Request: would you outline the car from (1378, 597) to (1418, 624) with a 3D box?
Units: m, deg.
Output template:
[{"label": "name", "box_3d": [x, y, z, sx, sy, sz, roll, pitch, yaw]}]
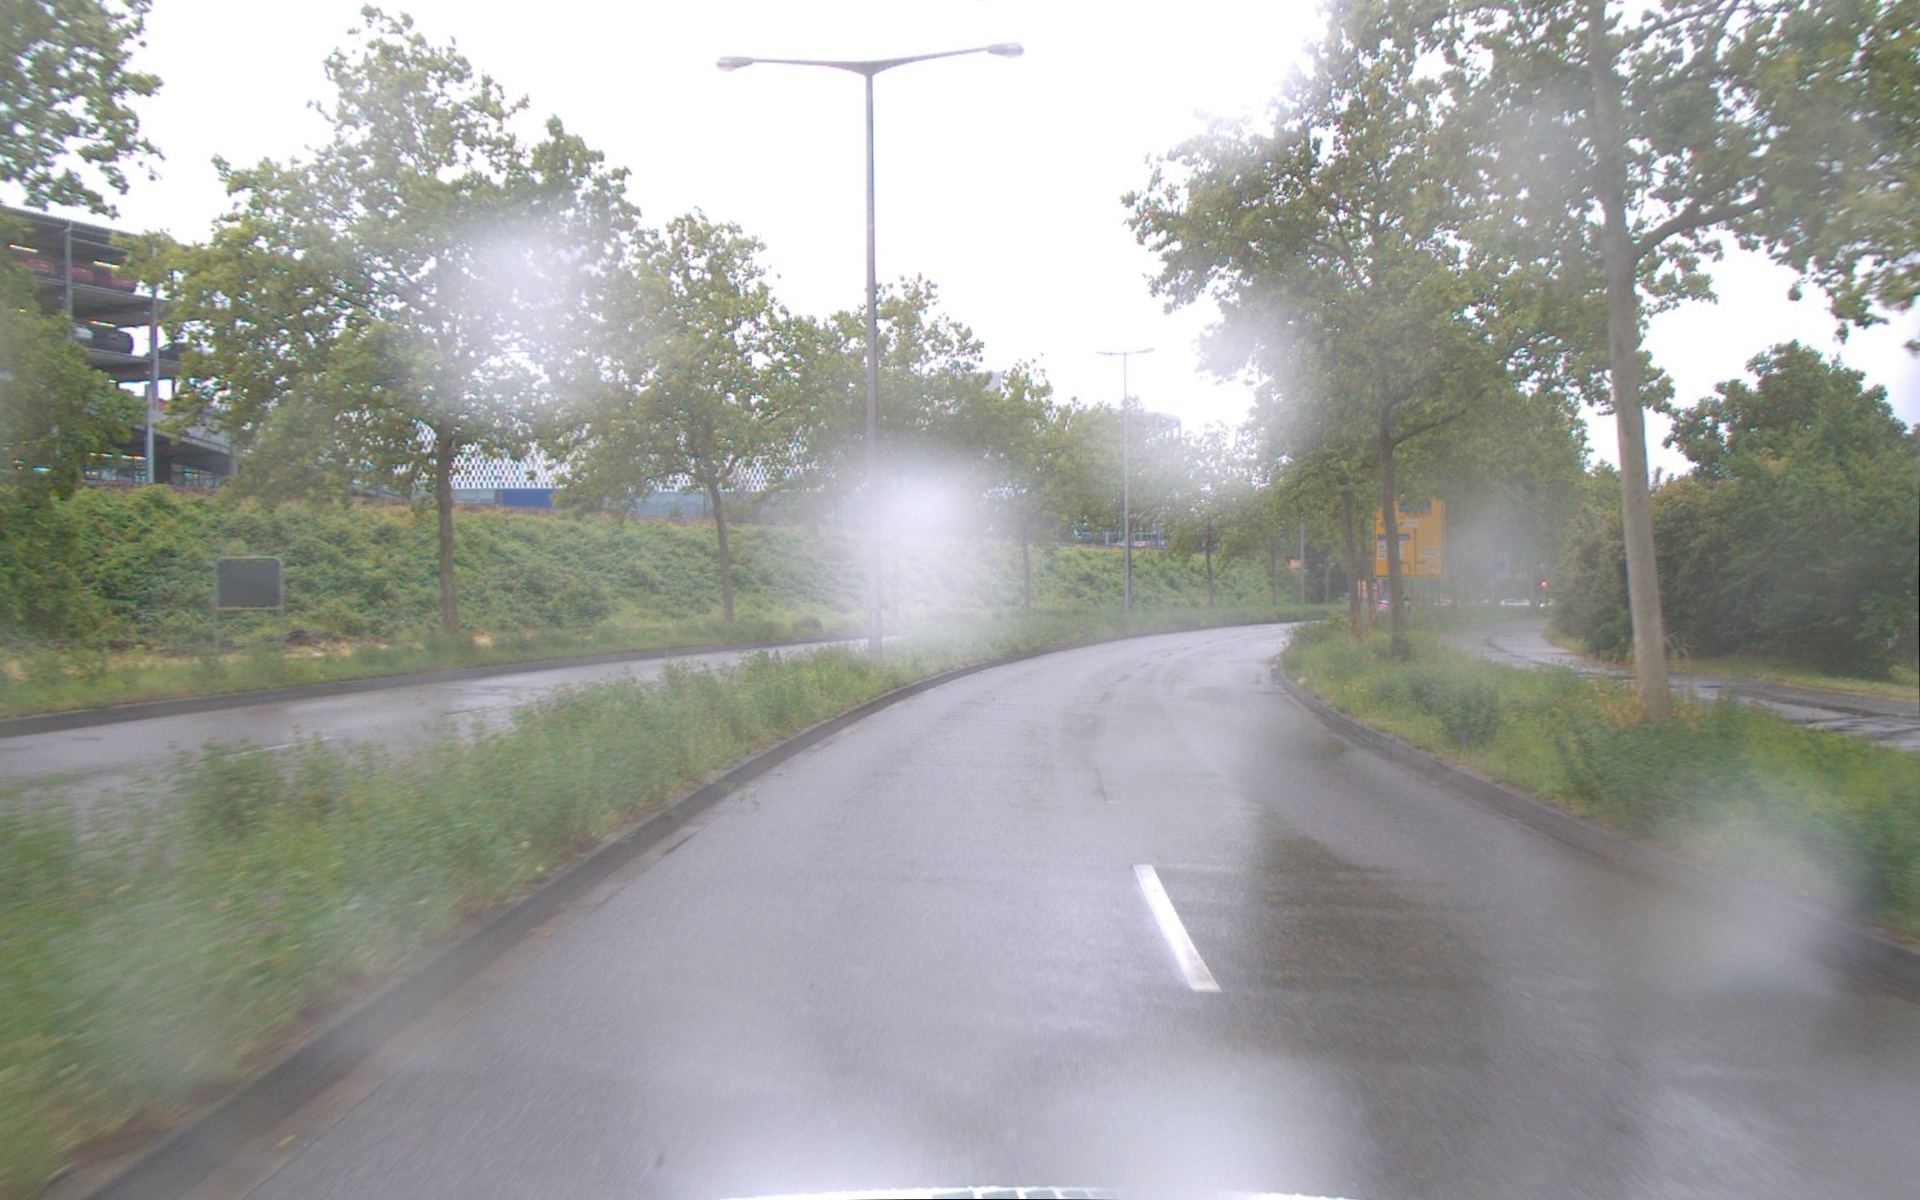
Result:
[{"label": "car", "box_3d": [26.974, 0.637, 101.871, 1.744, 1.583, 3.998, 1, 1, 24]}]
